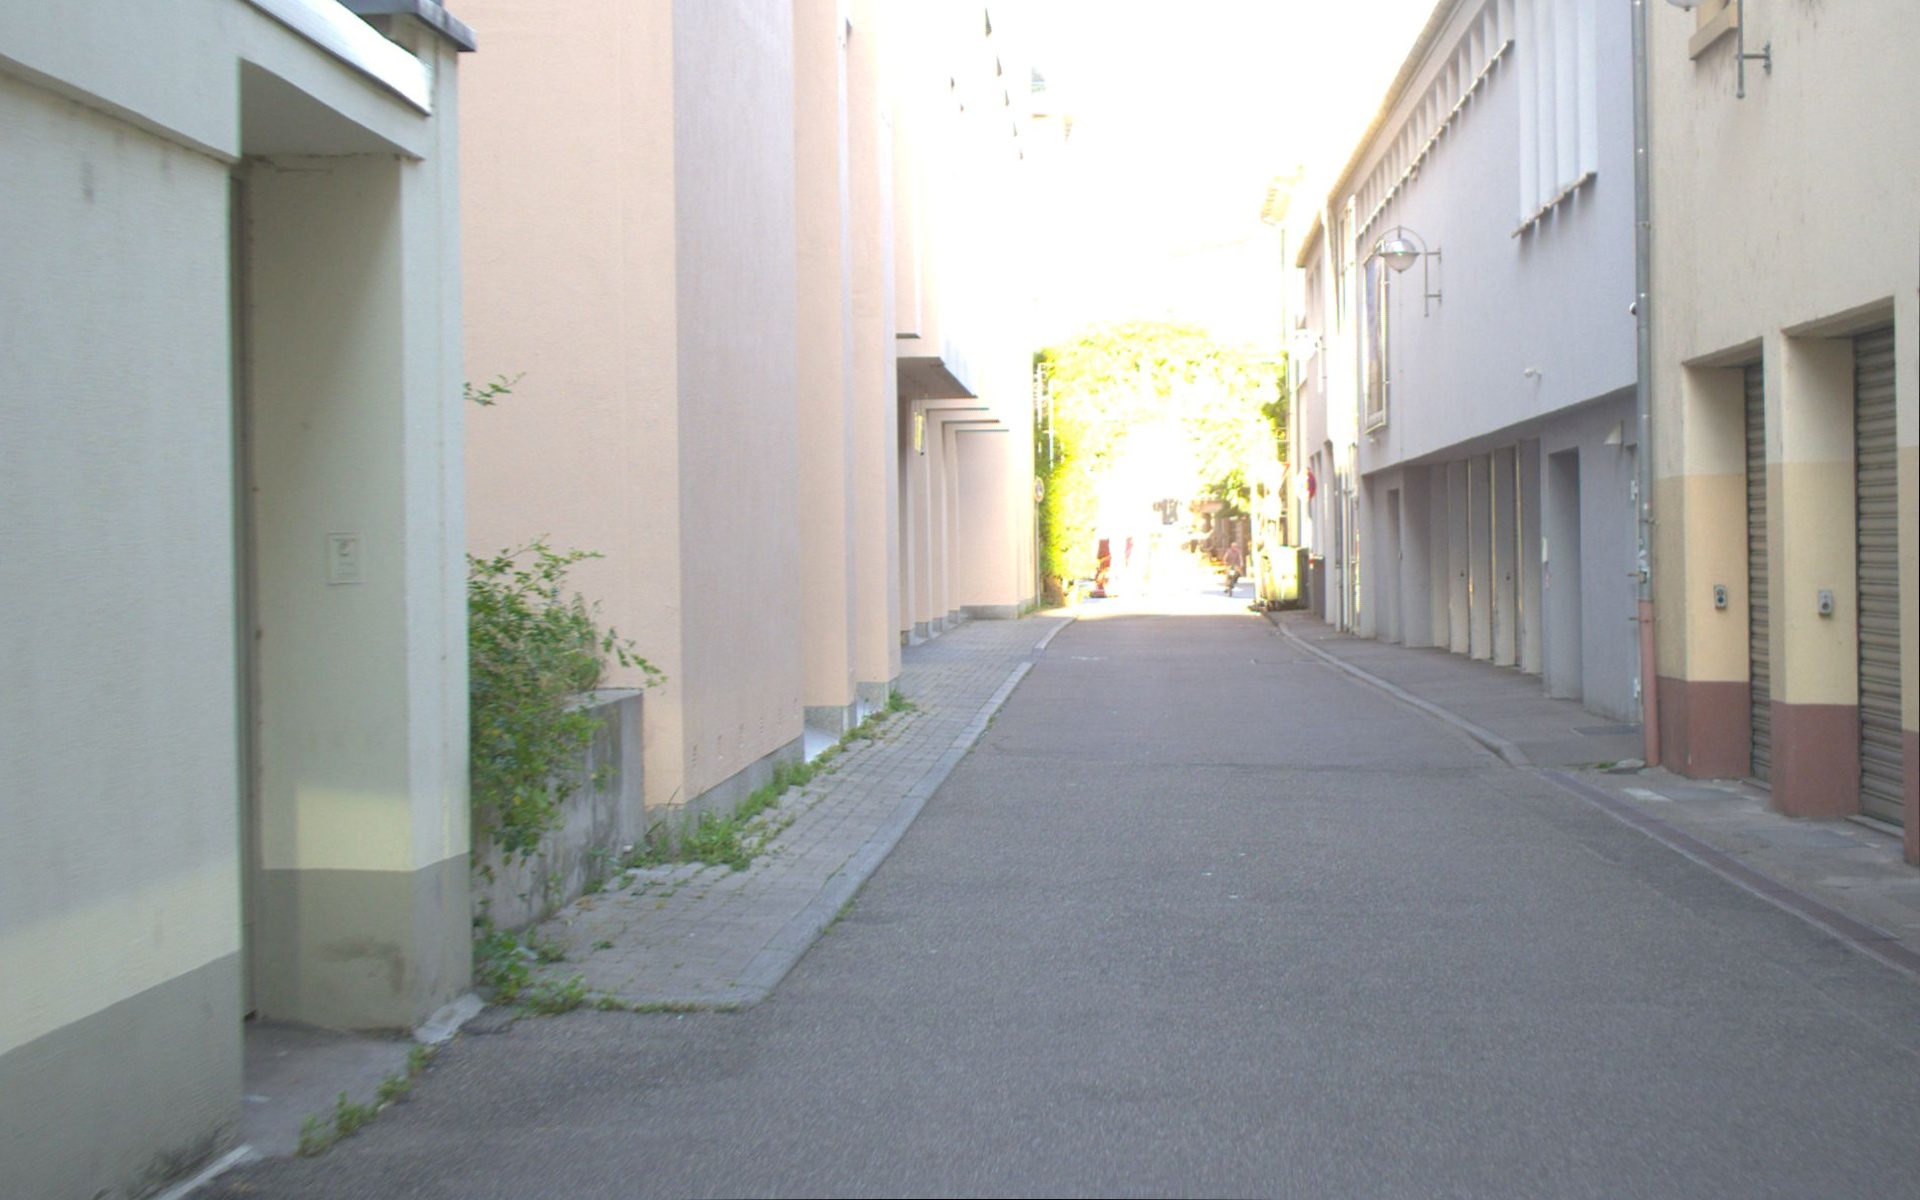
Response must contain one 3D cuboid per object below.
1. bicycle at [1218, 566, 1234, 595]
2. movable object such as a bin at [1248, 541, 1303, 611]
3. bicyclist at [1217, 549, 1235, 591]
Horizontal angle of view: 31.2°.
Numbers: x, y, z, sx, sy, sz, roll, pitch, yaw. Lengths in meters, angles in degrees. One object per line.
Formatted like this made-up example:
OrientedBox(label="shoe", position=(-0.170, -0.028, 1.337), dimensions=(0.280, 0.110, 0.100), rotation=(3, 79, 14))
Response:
OrientedBox(label="bicycle", position=(8.380, -0.623, 108.319), dimensions=(0.443, 0.912, 1.516), rotation=(1, 1, 6))
OrientedBox(label="movable object such as a bin", position=(6.776, -0.527, 73.882), dimensions=(1.107, 1.431, 1.414), rotation=(-1, 3, 3))
OrientedBox(label="bicyclist", position=(8.386, -0.944, 108.357), dimensions=(0.512, 1.318, 0.558), rotation=(1, 1, 6))
